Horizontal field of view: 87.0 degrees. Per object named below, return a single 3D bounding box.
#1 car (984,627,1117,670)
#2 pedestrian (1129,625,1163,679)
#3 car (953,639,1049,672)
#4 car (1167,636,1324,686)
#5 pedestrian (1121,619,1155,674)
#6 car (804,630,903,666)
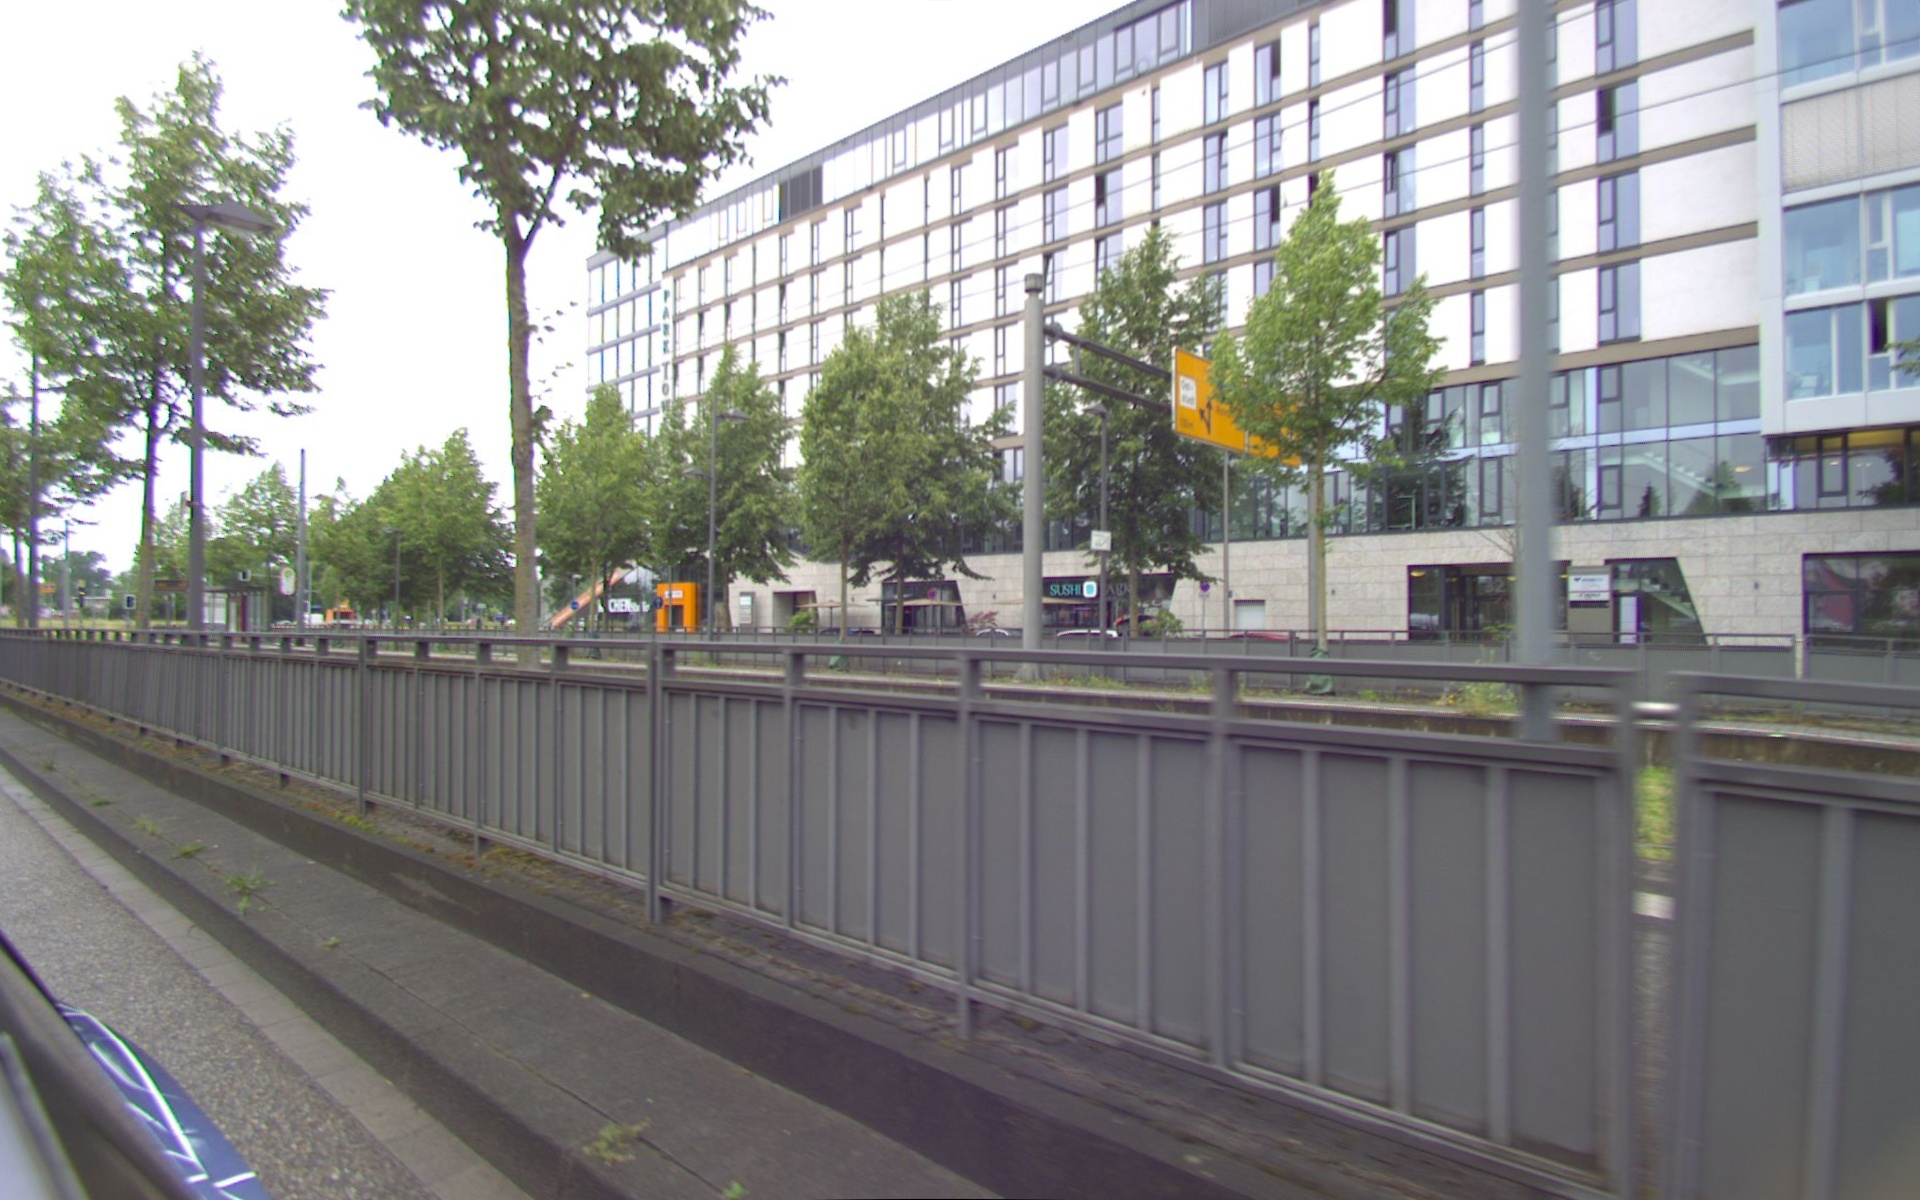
[{"bbox_3d":[2.958,1.568,33.474,4.070,1.298,1.972,-1,-1,43],"label":"car"},{"bbox_3d":[6.006,1.667,32.642,0.793,1.704,0.703,-2,-2,44],"label":"pedestrian"},{"bbox_3d":[1.749,2.394,44.179,3.860,1.298,1.972,-1,-2,43],"label":"car"},{"bbox_3d":[8.152,1.701,29.053,3.860,1.298,1.972,-1,-2,43],"label":"car"},{"bbox_3d":[5.623,1.469,31.953,0.793,1.704,0.703,-2,-2,44],"label":"pedestrian"},{"bbox_3d":[-4.399,1.936,41.474,3.858,1.298,1.973,0,-1,41],"label":"car"}]
